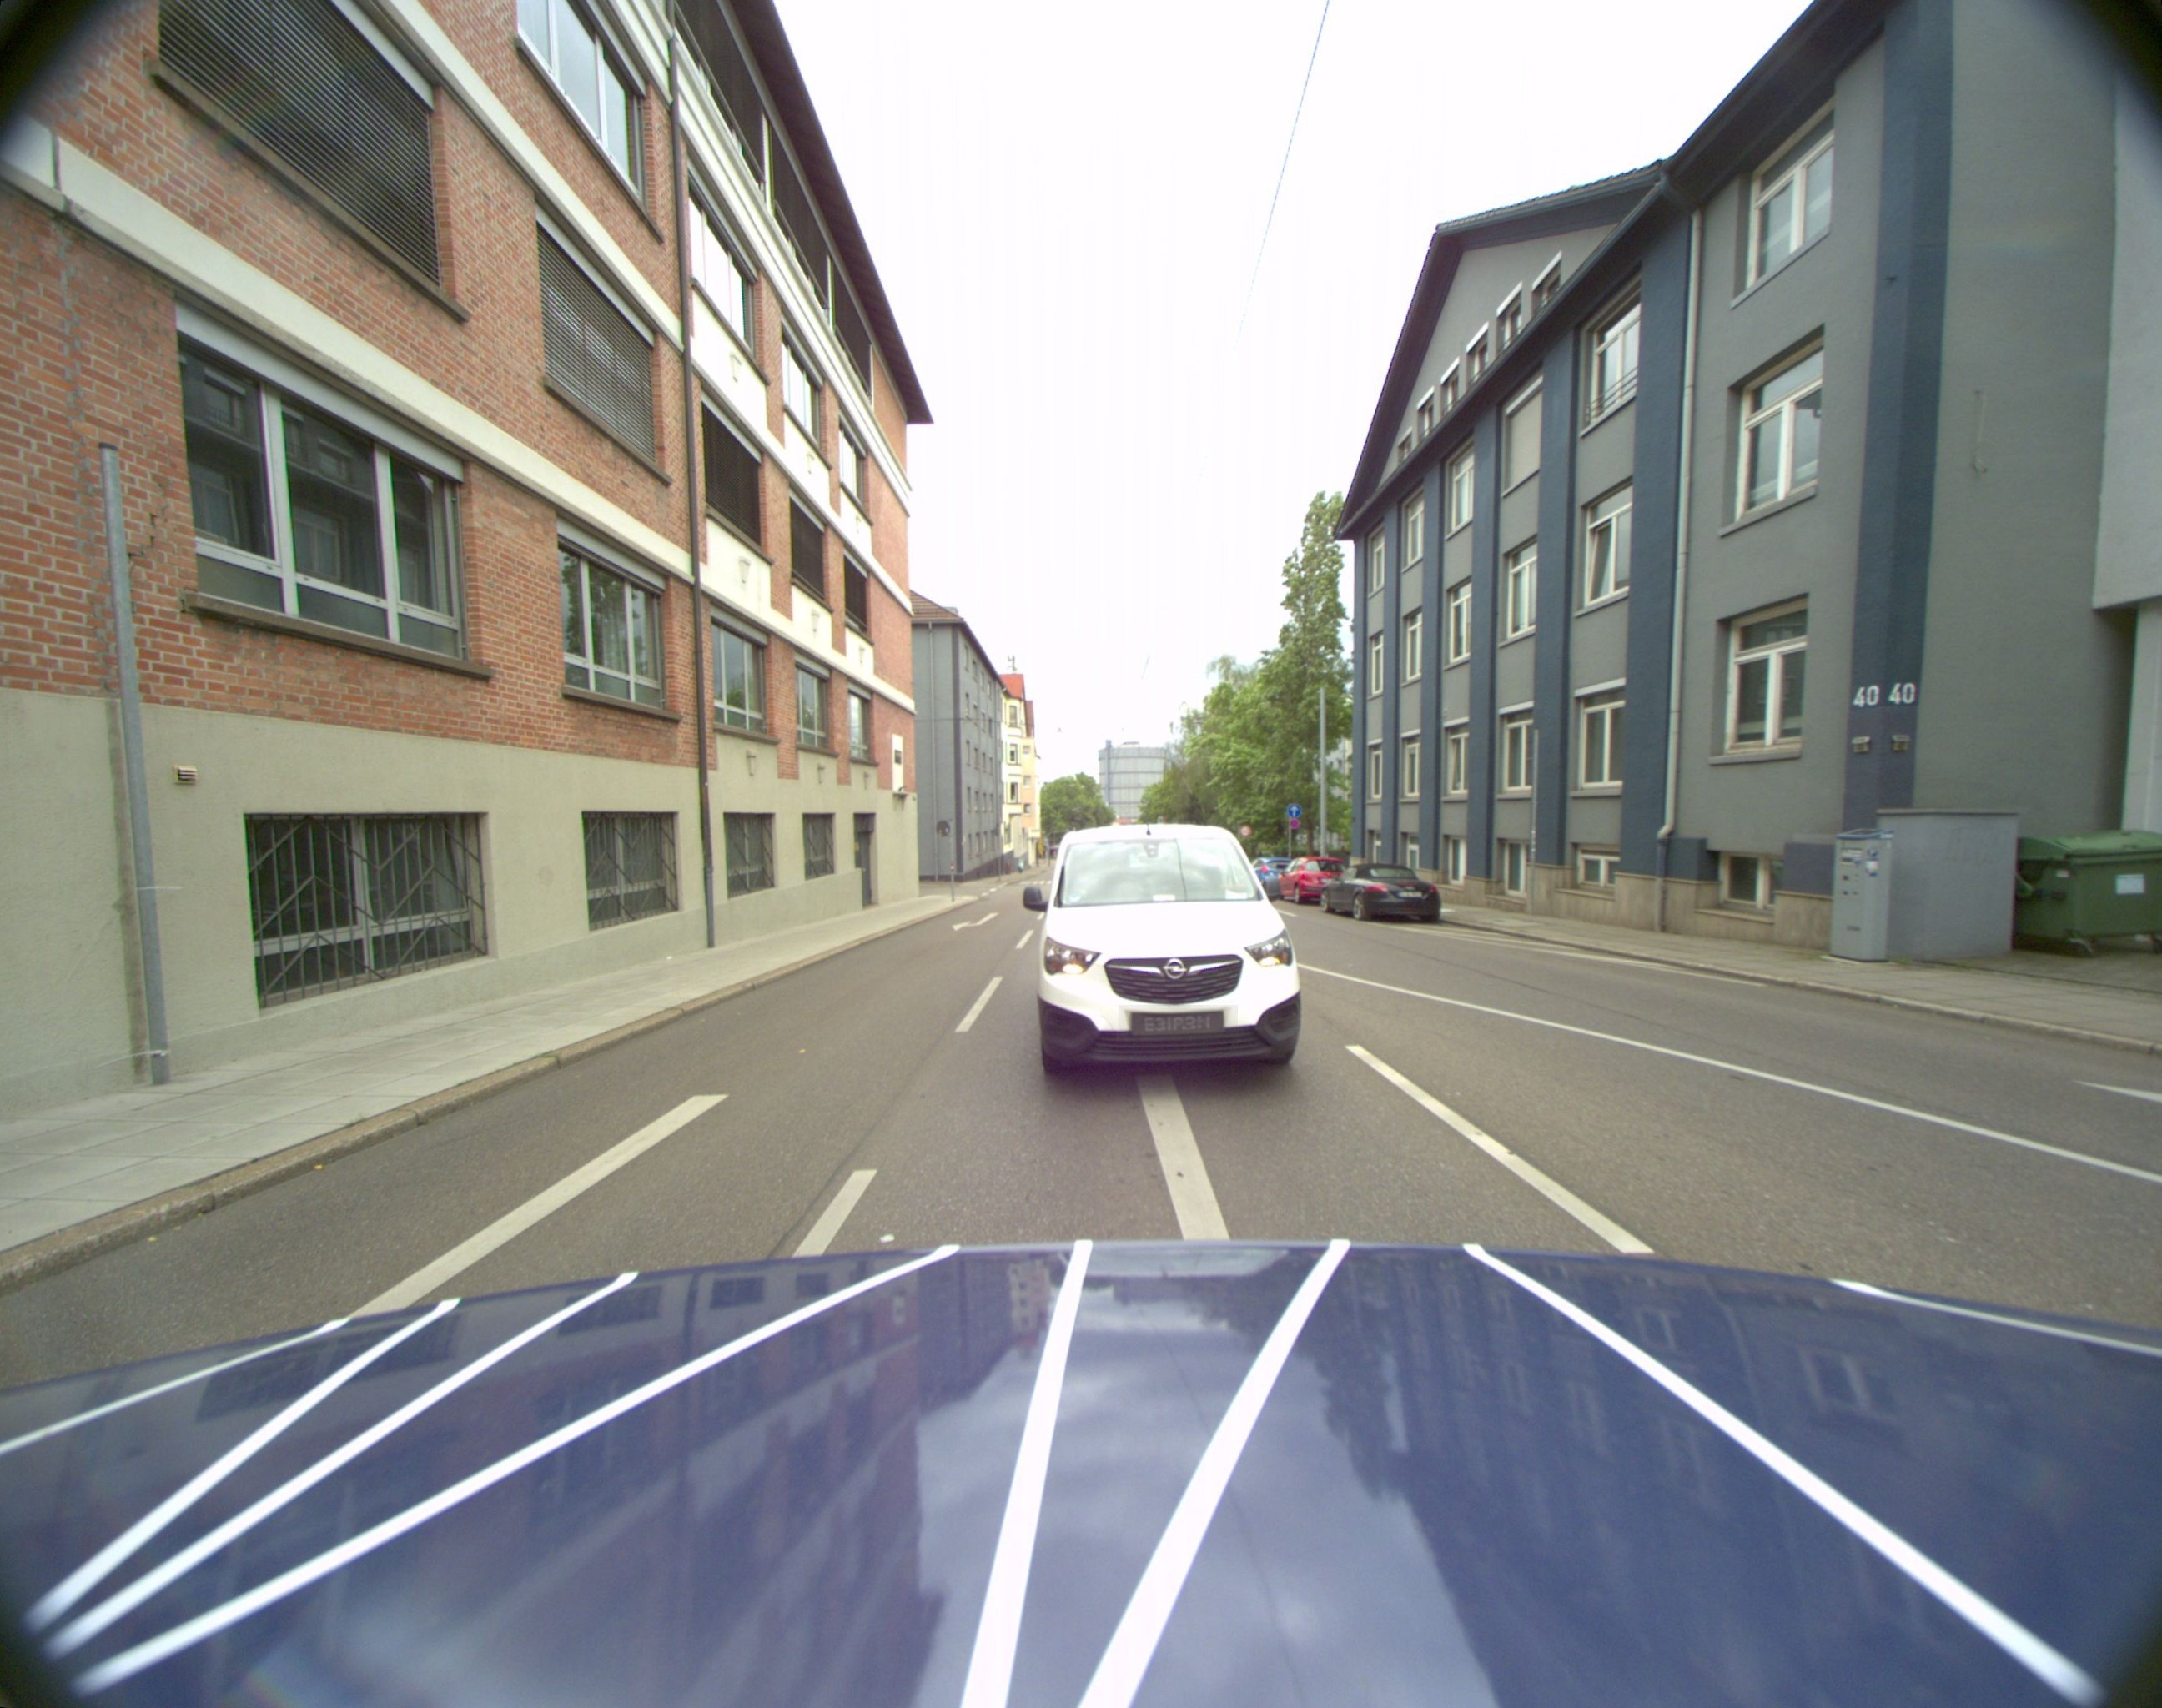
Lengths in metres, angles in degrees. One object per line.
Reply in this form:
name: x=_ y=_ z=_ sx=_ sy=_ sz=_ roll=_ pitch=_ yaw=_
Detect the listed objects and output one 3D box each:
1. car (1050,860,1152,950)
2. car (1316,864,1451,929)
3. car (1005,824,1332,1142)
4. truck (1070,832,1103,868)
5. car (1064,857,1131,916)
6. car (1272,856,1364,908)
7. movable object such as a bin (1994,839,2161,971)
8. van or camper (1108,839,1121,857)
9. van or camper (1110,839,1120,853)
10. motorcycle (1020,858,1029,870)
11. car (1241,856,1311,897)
car: x=0.389 y=0.879 z=14.768 sx=1.724 sy=1.486 sz=3.727 roll=1 pitch=0 yaw=2
car: x=7.189 y=0.946 z=18.519 sx=1.724 sy=1.319 sz=4.041 roll=2 pitch=0 yaw=1
car: x=0.559 y=0.749 z=6.916 sx=1.840 sy=1.797 sz=4.939 roll=-2 pitch=0 yaw=1
truck: x=0.618 y=-0.403 z=77.702 sx=2.980 sy=3.394 sz=9.358 roll=-2 pitch=0 yaw=1
car: x=0.487 y=0.860 z=21.679 sx=1.724 sy=1.486 sz=3.727 roll=1 pitch=0 yaw=2
car: x=7.481 y=0.842 z=24.330 sx=1.819 sy=1.465 sz=3.869 roll=2 pitch=0 yaw=2
movable object such as a bin: x=12.092 y=0.584 z=9.113 sx=1.267 sy=1.448 sz=0.784 roll=-3 pitch=2 yaw=4
van or camper: x=5.200 y=-1.006 z=119.933 sx=1.914 sy=2.754 sz=5.925 roll=1 pitch=0 yaw=2
van or camper: x=6.746 y=-1.537 z=149.783 sx=1.914 sy=2.754 sz=5.925 roll=1 pitch=0 yaw=2
motorcycle: x=-5.084 y=0.895 z=68.416 sx=0.566 sy=1.105 sz=1.653 roll=4 pitch=0 yaw=2
car: x=7.564 y=0.831 z=29.773 sx=1.724 sy=1.445 sz=3.727 roll=1 pitch=0 yaw=0
